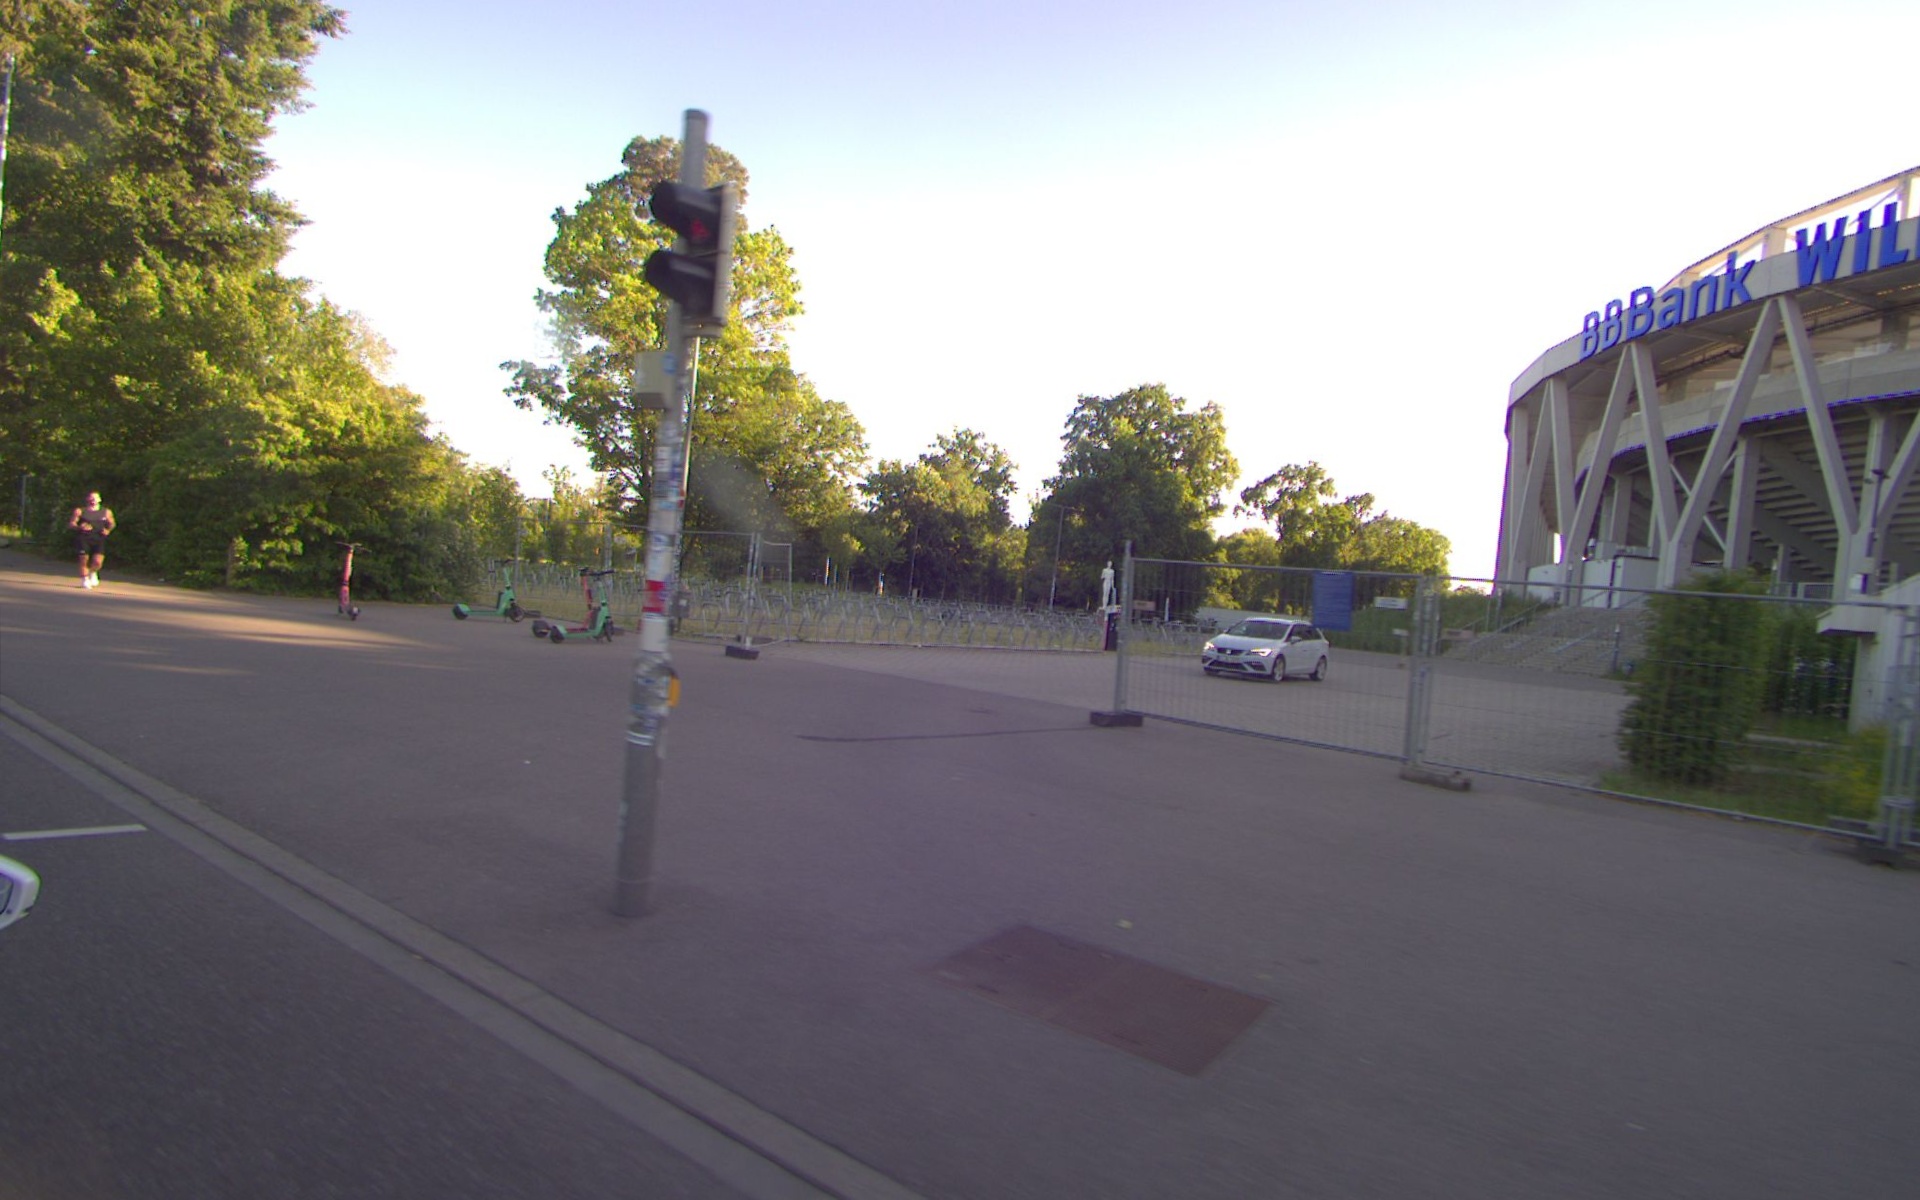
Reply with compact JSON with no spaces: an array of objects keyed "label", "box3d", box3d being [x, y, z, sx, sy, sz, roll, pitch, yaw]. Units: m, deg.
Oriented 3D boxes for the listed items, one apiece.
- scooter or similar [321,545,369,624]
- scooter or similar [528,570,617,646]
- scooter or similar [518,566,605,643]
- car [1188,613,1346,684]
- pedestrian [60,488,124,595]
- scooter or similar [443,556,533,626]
[{"label":"scooter or similar","box3d":[-10.141,-0.263,16.567,1.390,1.187,0.280,7,3,44]},{"label":"scooter or similar","box3d":[-6.224,0.144,16.203,0.389,1.162,1.262,5,2,42]},{"label":"scooter or similar","box3d":[-6.616,0.086,16.728,1.234,1.182,0.391,4,1,-31]},{"label":"car","box3d":[7.364,1.167,23.865,1.796,1.396,4.360,6,1,43]},{"label":"pedestrian","box3d":[-14.746,-0.999,17.083,0.871,1.709,0.624,6,0,44]},{"label":"scooter or similar","box3d":[-8.730,-0.163,18.625,1.425,1.182,0.391,4,1,-27]}]
